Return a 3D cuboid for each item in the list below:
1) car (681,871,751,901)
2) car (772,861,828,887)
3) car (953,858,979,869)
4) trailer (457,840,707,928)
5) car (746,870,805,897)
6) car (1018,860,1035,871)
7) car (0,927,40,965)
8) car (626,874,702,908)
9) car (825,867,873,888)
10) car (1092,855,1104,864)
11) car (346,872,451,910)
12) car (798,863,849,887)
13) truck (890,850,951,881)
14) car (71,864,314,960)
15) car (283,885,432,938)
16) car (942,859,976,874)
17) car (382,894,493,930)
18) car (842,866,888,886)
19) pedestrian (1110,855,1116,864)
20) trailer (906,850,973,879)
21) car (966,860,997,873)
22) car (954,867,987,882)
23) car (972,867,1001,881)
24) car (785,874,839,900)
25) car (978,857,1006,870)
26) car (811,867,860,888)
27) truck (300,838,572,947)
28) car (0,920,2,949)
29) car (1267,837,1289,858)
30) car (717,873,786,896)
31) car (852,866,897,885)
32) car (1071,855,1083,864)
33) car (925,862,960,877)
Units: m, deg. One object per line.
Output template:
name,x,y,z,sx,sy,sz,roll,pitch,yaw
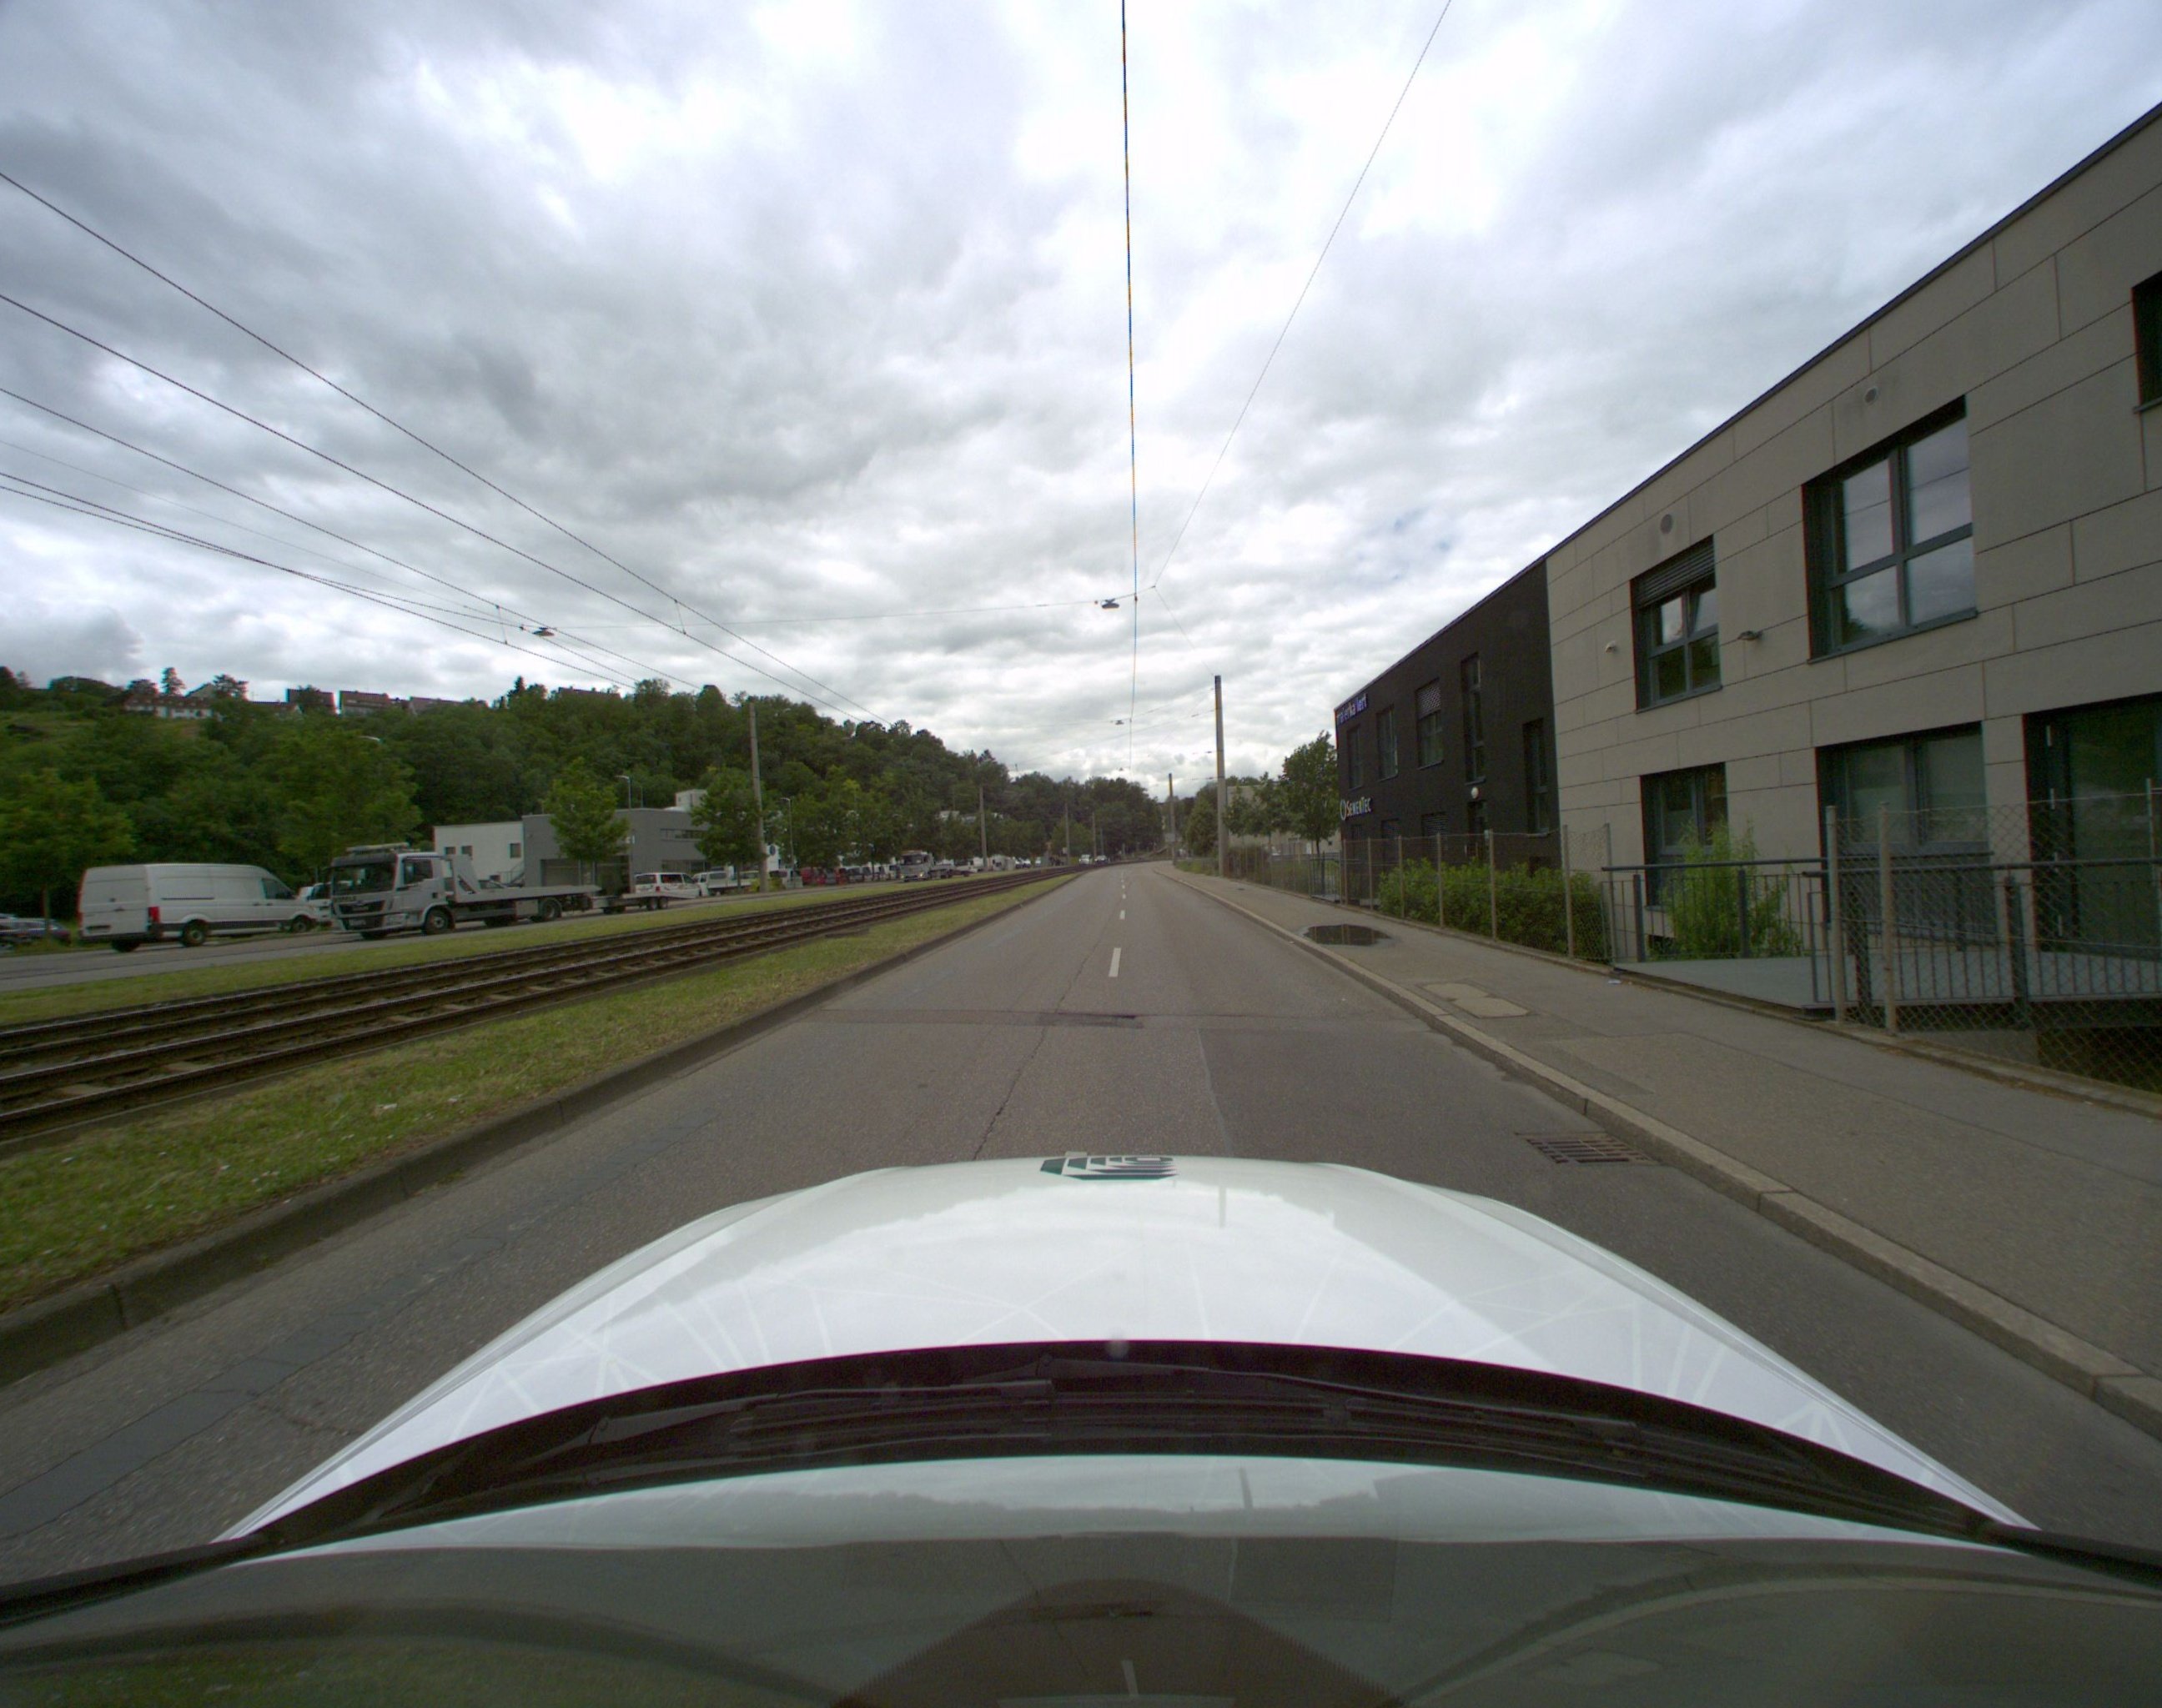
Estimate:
car,-25.880,2.289,57.738,4.552,1.899,2.011,-4,-4,26
car,-23.984,1.734,69.557,3.966,2.014,2.003,-3,-4,6
car,-19.278,1.588,136.091,4.122,1.706,1.830,-2,-4,-5
trailer,-19.925,1.056,33.833,2.879,2.982,10.805,-2,0,5
car,-24.865,2.408,66.405,3.966,2.014,2.003,-3,-4,6
car,-9.973,2.057,148.957,1.815,1.706,4.158,-3,-4,14
car,-39.454,3.350,28.164,1.590,1.266,4.024,-3,-1,27
car,-26.015,2.349,50.951,1.983,1.899,4.617,-3,-4,6
car,-22.582,2.297,79.202,3.962,1.705,1.839,-3,1,9
car,3.135,1.000,150.912,1.985,1.640,4.004,-2,0,4
car,-44.064,2.345,52.708,1.589,2.191,4.910,-3,-1,30
car,-23.590,1.936,74.757,3.966,2.014,2.003,-3,-4,6
truck,-14.505,0.979,74.160,2.864,2.589,6.932,-2,0,11
car,-28.039,1.692,26.079,1.999,2.646,5.430,-2,-1,-4
car,-28.534,2.275,32.358,2.150,1.877,4.251,-2,-4,-2
car,-16.229,1.679,108.253,3.962,1.706,1.838,-3,-4,9
car,-38.439,3.414,48.797,1.589,1.765,4.910,-3,-1,30
car,-21.720,2.195,81.905,3.962,1.706,1.839,-3,0,9
pedestrian,7.574,1.211,192.067,1.005,2.014,1.151,-4,-4,19
trailer,-13.538,0.933,79.049,2.873,2.583,10.026,-2,0,11
car,-14.482,1.833,118.705,3.962,1.706,1.838,-3,-4,9
car,-15.393,2.860,113.460,3.963,1.705,1.839,-3,1,9
car,-14.050,2.991,121.304,3.962,1.706,1.838,-3,-4,9
car,-23.865,2.955,72.362,3.966,2.014,2.003,-3,-4,6
car,-13.791,1.446,126.259,3.962,1.706,1.838,-3,-4,9
car,-23.170,2.220,77.021,3.962,1.706,1.839,-3,-1,10
truck,-20.537,1.092,26.626,2.869,2.990,6.922,-2,0,5
car,-48.576,3.551,34.007,1.590,1.266,4.024,-3,-1,27
car,17.962,-0.587,74.289,1.815,1.706,3.819,-3,0,13
car,-25.645,2.406,63.452,4.572,1.575,2.002,-3,-4,5
car,-21.379,2.177,84.404,3.962,1.706,1.839,-3,0,9
car,-0.787,1.104,156.715,1.985,1.640,4.004,-2,0,4
car,-17.798,2.006,104.646,3.962,1.706,1.838,-3,-4,9
